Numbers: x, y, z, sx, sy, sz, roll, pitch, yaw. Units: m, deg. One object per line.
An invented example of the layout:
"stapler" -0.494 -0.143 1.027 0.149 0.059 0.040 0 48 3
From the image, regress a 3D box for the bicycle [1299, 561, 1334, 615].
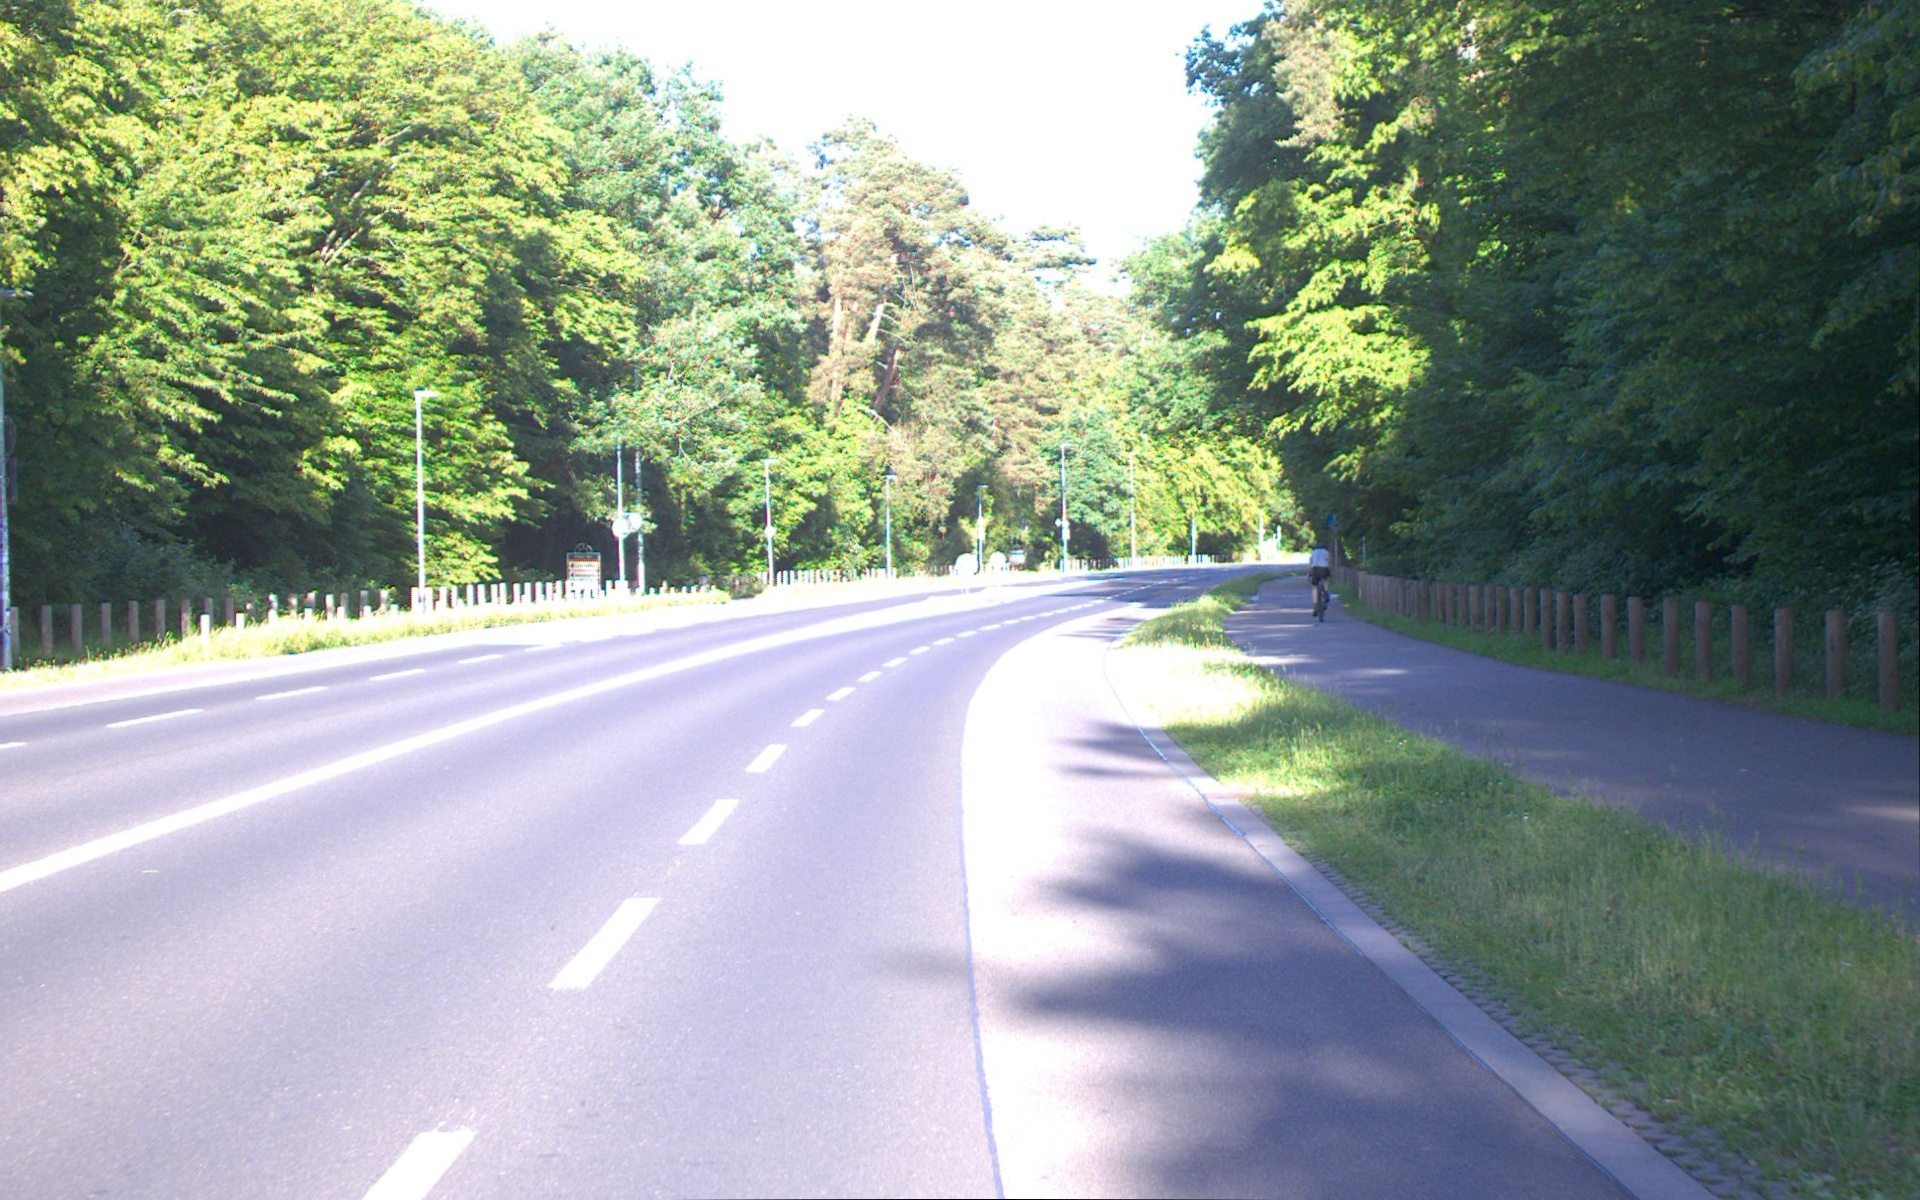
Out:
"bicycle" 7.532 -0.263 72.659 0.712 1.052 2.053 -1 2 6
